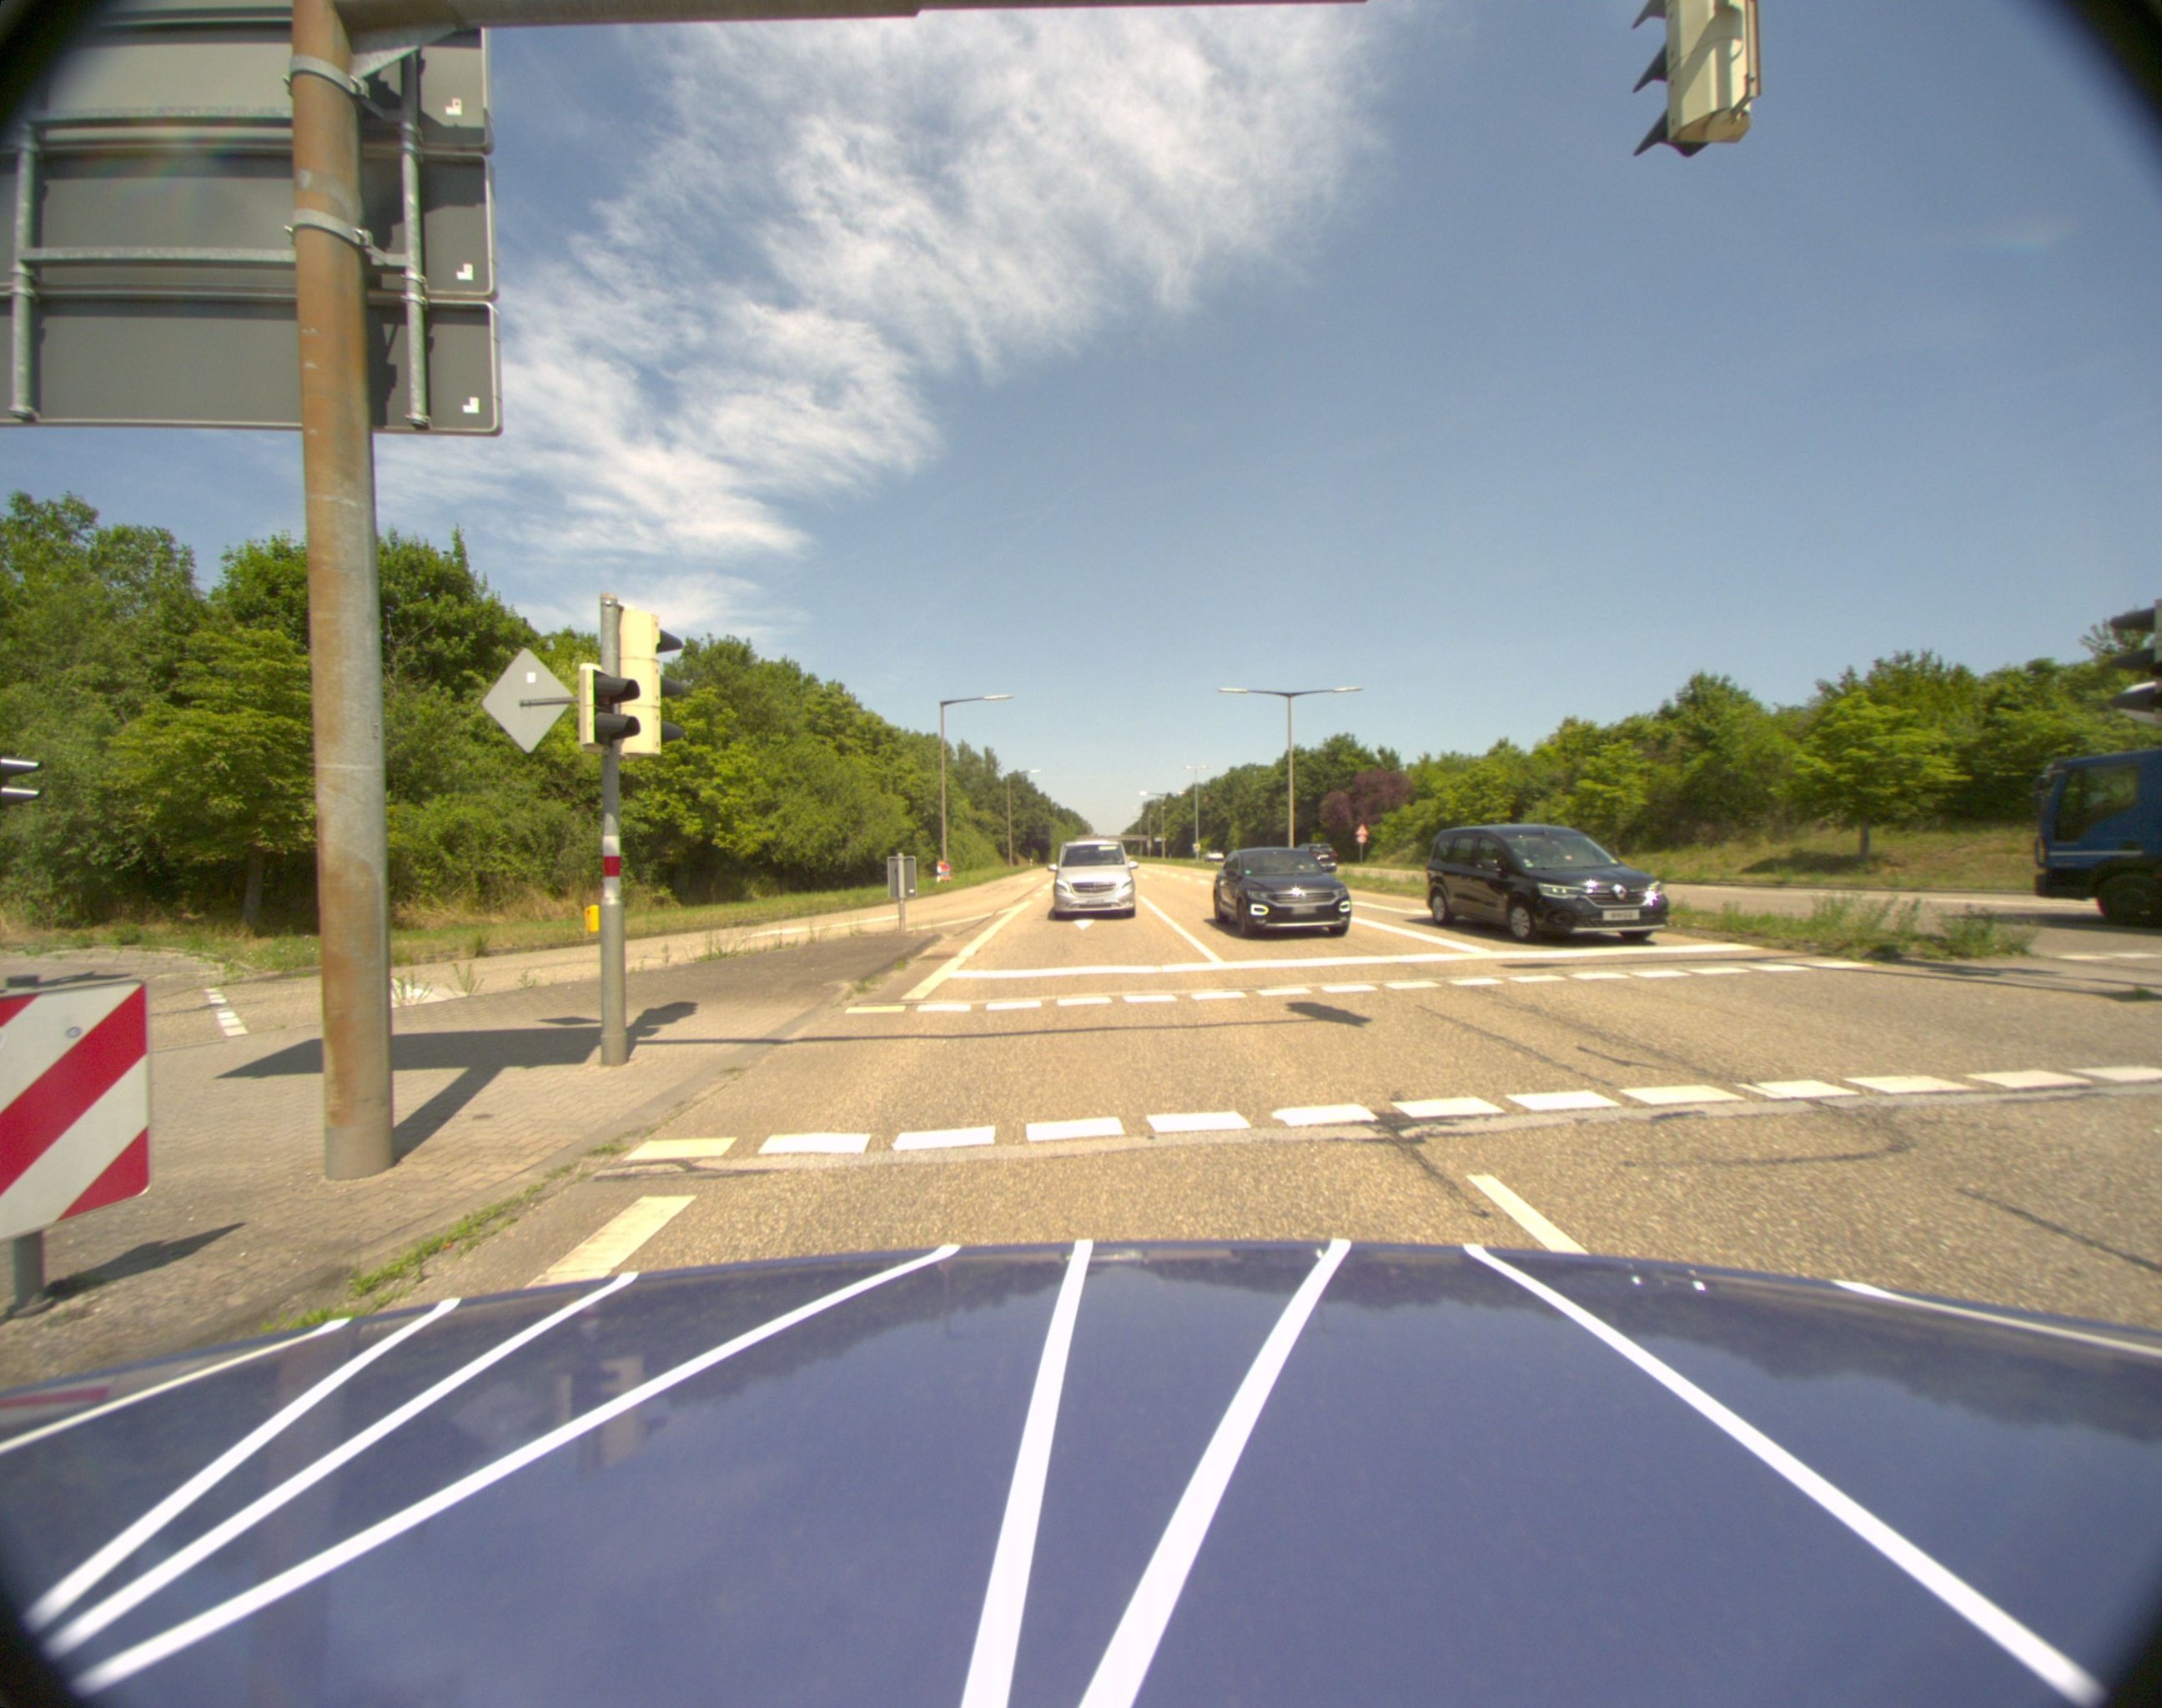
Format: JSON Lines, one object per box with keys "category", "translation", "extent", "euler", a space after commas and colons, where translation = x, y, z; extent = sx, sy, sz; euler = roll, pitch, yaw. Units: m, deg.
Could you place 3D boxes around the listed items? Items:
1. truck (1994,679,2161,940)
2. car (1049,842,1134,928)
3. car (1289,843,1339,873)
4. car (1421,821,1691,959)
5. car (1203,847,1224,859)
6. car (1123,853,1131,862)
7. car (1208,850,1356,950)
{"category": "truck", "translation": [16.025, -0.630, 8.601], "extent": [2.694, 3.550, 7.267], "euler": [-1, 0, 1]}
{"category": "car", "translation": [0.283, 0.650, 18.834], "extent": [1.764, 1.794, 4.855], "euler": [-3, 1, 1]}
{"category": "car", "translation": [13.524, 0.201, 44.264], "extent": [1.711, 1.653, 4.223], "euler": [-1, 0, 2]}
{"category": "car", "translation": [7.310, 0.470, 12.308], "extent": [1.735, 1.815, 4.321], "euler": [-1, 0, 1]}
{"category": "car", "translation": [16.470, -0.158, 94.730], "extent": [1.827, 1.447, 4.168], "euler": [-1, 0, -1]}
{"category": "car", "translation": [10.930, 0.816, 179.704], "extent": [1.735, 1.815, 4.321], "euler": [-1, 0, 1]}
{"category": "car", "translation": [3.545, 0.729, 14.137], "extent": [1.738, 1.503, 3.970], "euler": [-3, 1, 1]}
